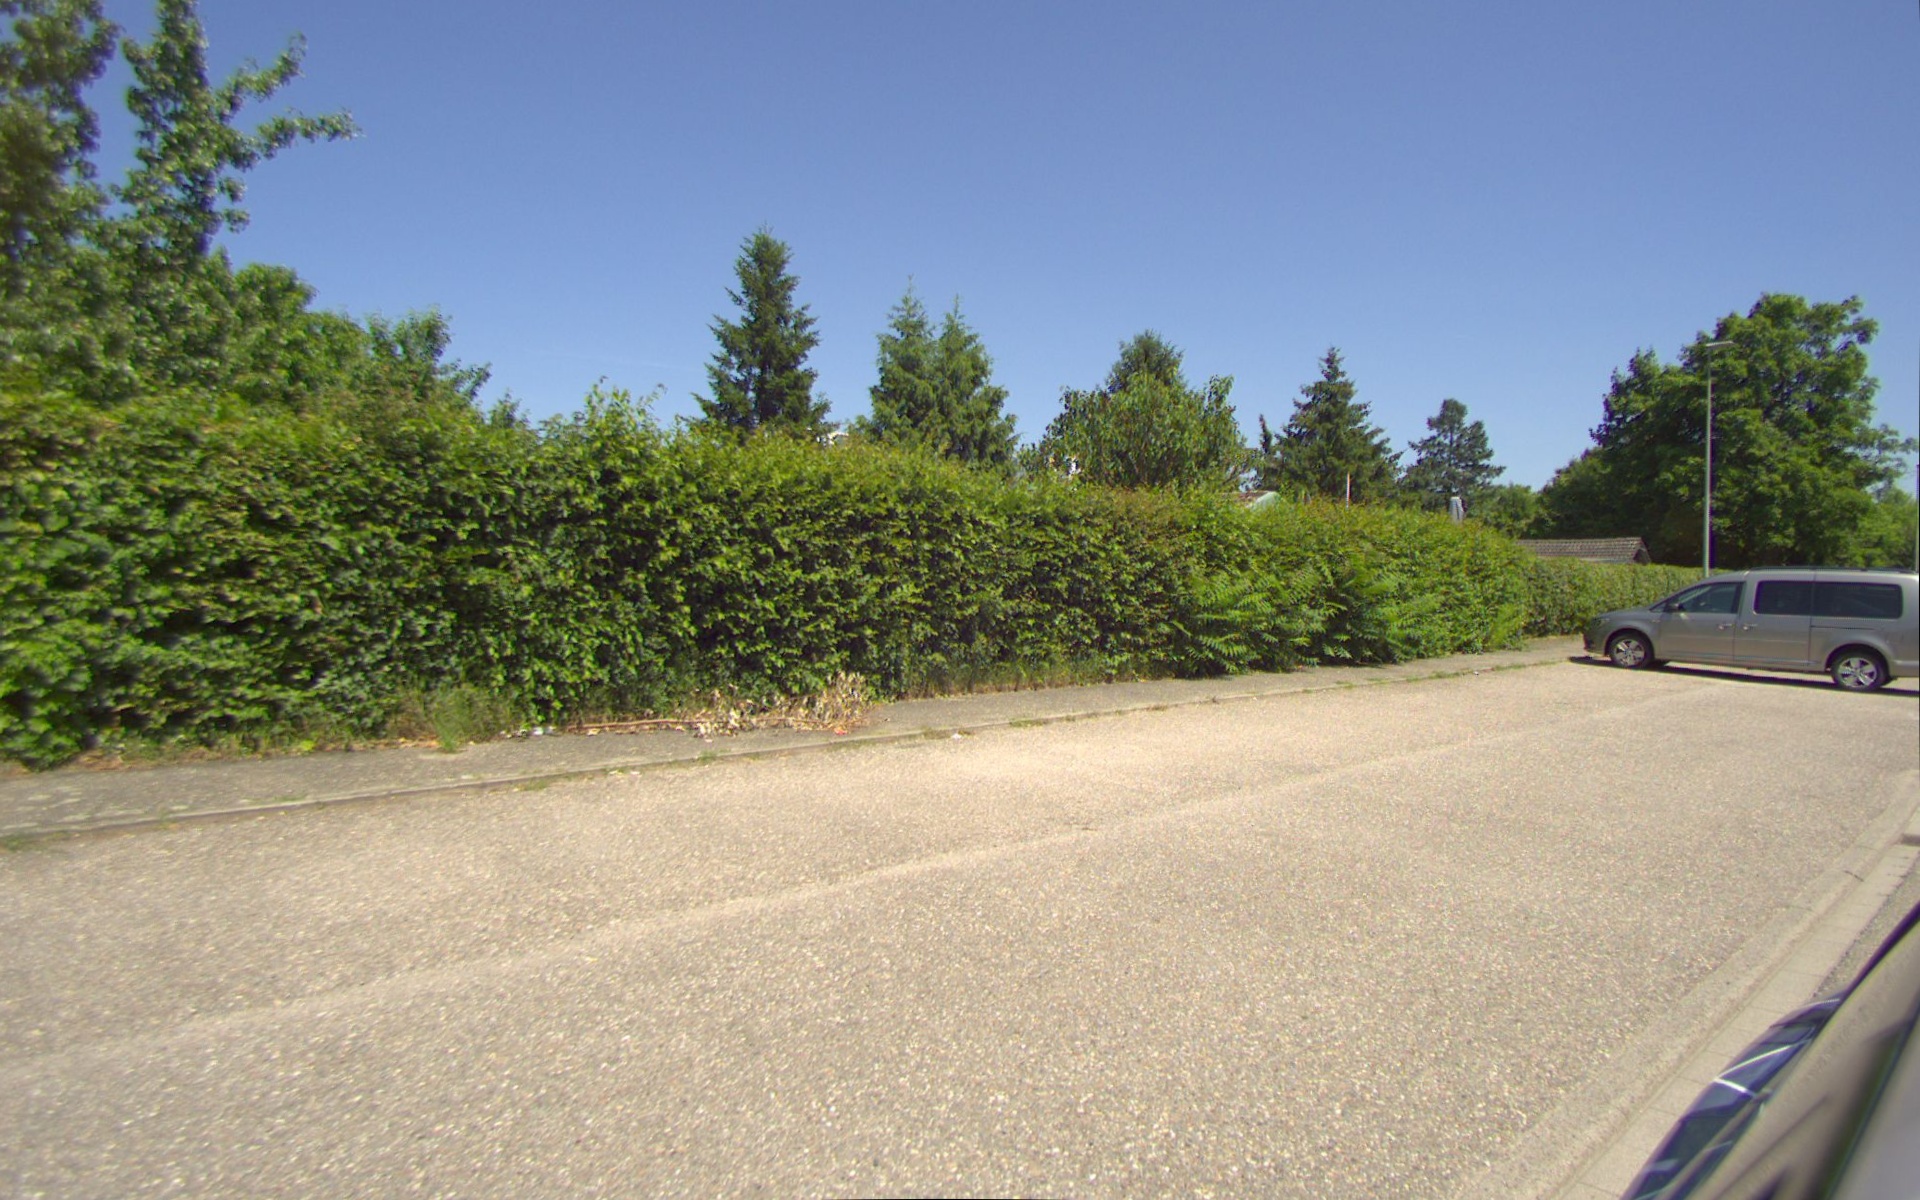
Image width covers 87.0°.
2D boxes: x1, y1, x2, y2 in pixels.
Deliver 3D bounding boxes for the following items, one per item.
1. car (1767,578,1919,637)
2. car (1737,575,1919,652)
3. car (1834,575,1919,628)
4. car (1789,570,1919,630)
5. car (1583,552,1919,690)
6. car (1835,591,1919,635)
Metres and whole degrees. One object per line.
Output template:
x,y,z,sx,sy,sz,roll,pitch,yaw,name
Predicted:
28.061,0.254,31.316,4.563,1.456,1.930,8,5,44,car
21.680,0.310,24.726,1.813,1.496,3.929,1,5,-42,car
35.758,0.160,37.742,1.881,1.724,4.480,1,5,-43,car
31.503,0.018,34.827,1.821,1.718,4.268,1,5,-41,car
13.340,0.243,16.837,1.961,1.871,4.632,1,3,-41,car
33.772,0.462,35.845,1.801,1.470,4.002,0,2,-42,car
